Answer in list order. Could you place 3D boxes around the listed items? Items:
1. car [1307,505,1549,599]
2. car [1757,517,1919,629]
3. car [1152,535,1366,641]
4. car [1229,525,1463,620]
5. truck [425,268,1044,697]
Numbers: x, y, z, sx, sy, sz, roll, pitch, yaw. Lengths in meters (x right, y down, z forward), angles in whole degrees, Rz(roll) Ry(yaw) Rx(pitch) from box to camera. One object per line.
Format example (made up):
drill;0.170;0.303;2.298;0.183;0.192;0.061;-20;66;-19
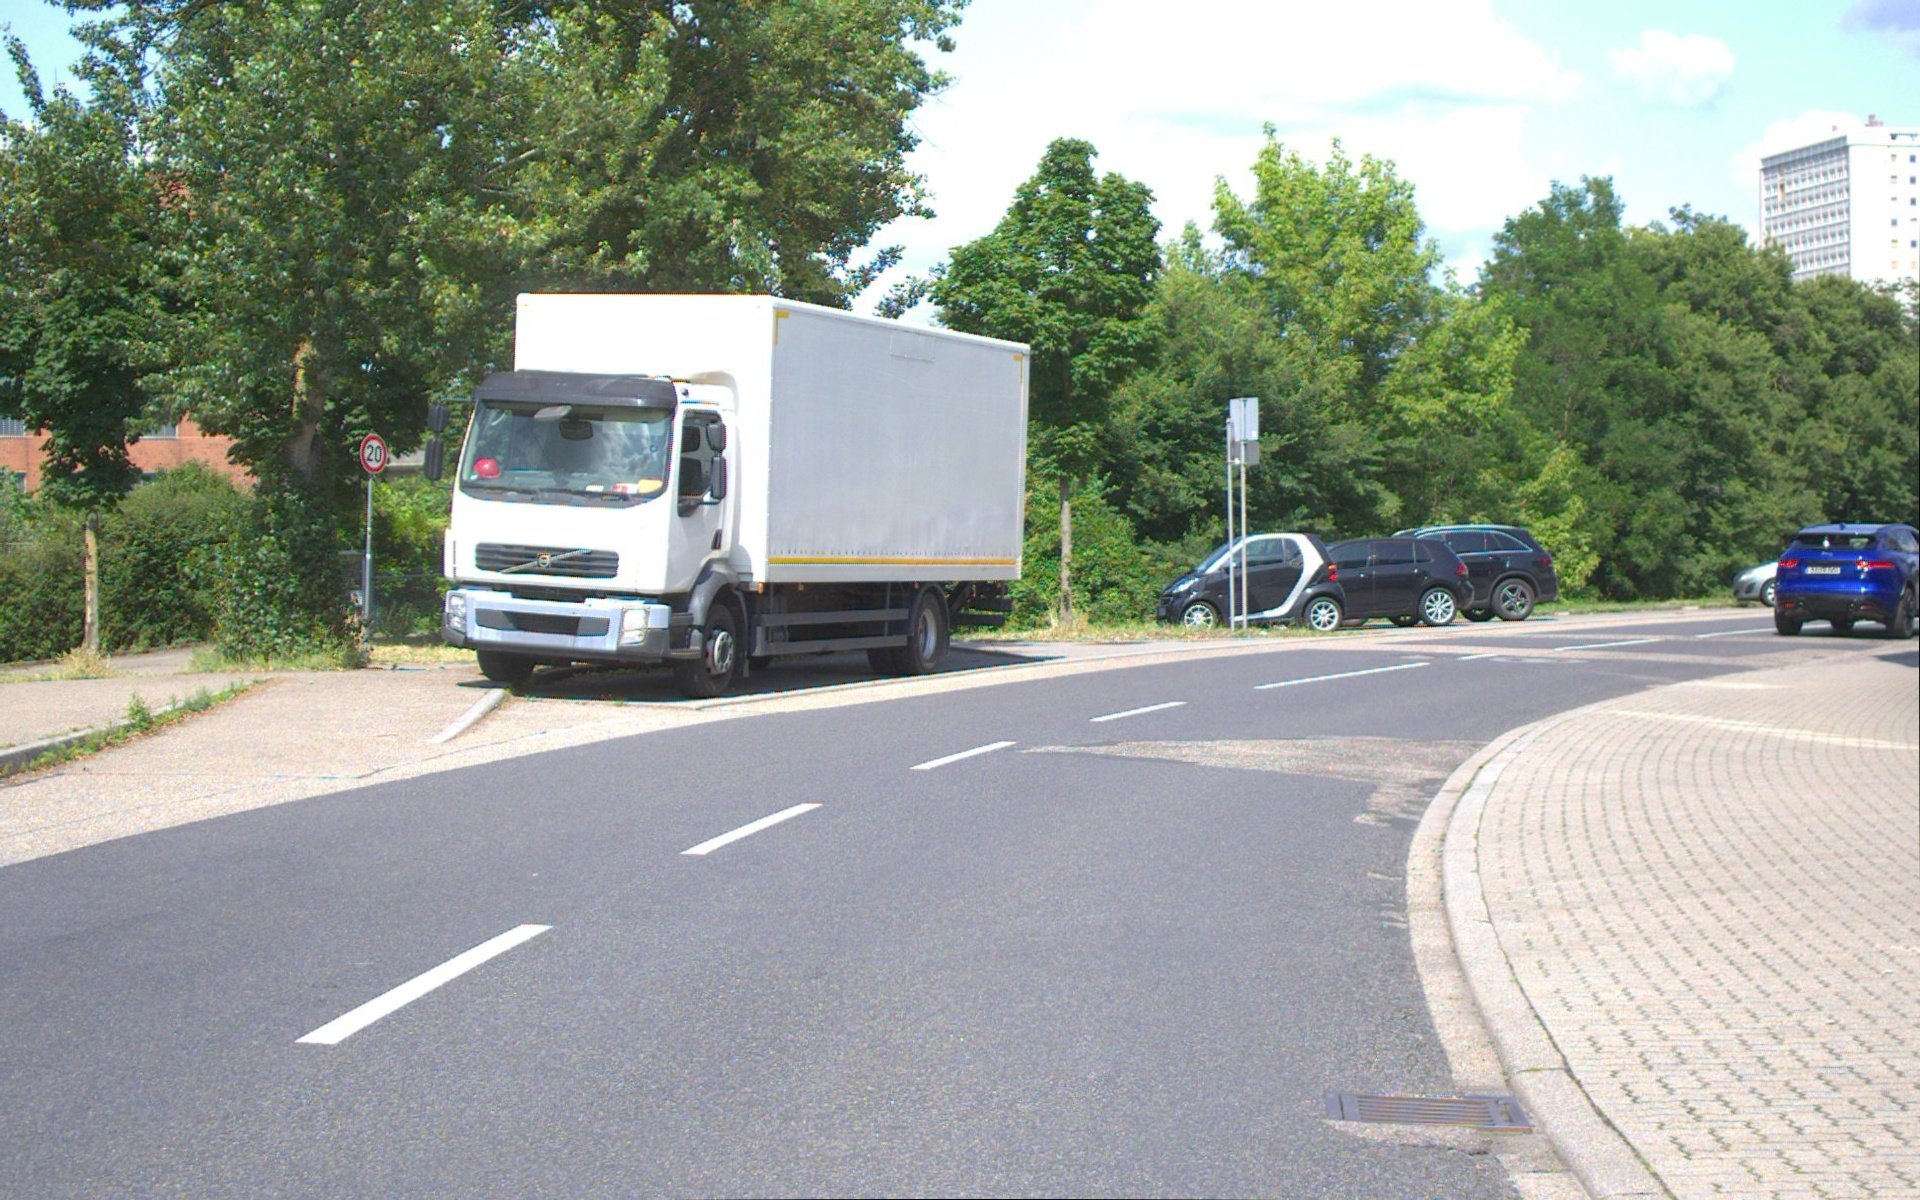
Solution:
car;7.913;-0.802;58.307;3.627;1.564;1.890;0;0;-13
car;13.566;-0.409;51.479;1.912;1.588;4.693;0;1;29
car;4.482;-0.184;51.855;2.897;1.564;1.890;0;0;-6
car;6.156;-0.459;54.921;3.322;1.470;1.705;-1;1;-14
truck;-1.833;-1.137;33.334;2.323;3.555;9.358;2;2;20
